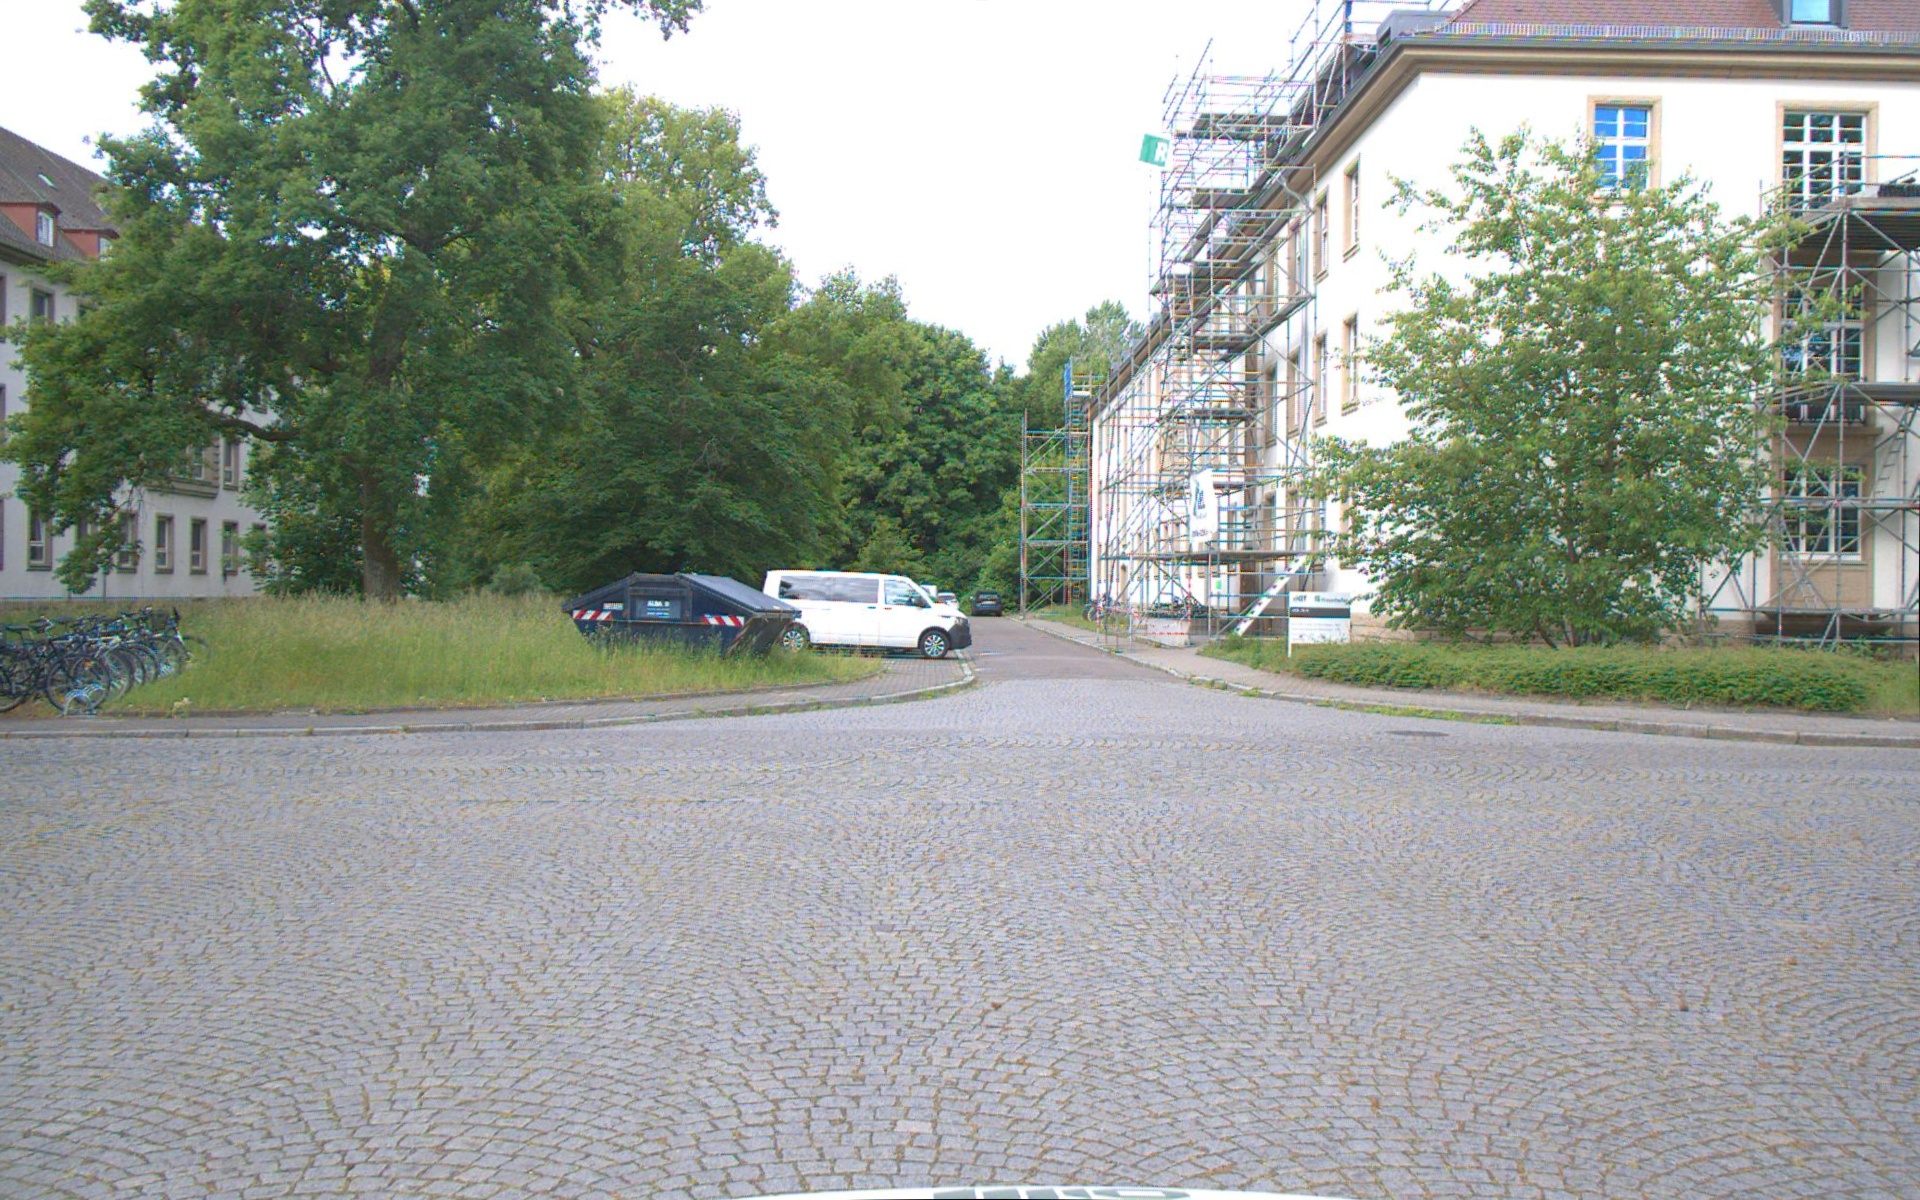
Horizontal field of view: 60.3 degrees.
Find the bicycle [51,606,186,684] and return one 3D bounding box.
[{"bbox_3d":[-12.591,0.667,24.799,1.732,1.131,0.475,0,0,-18],"label":"bicycle"}]

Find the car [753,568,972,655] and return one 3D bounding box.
[{"bbox_3d":[-2.313,0.271,39.894,5.153,2.031,1.968,0,0,-2],"label":"car"}]

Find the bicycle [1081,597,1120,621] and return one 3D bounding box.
[{"bbox_3d":[6.621,0.424,78.070,1.816,1.114,0.511,0,0,6],"label":"bicycle"}]

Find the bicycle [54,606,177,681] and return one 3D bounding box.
[{"bbox_3d":[-13.095,0.669,25.671,1.617,1.131,0.441,0,0,-12],"label":"bicycle"}]

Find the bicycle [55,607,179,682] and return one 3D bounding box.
[{"bbox_3d":[-12.825,0.672,25.188,1.617,1.131,0.441,0,0,-12],"label":"bicycle"}]

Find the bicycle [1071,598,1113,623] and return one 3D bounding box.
[{"bbox_3d":[5.954,0.456,74.810,1.818,1.114,0.511,0,0,21],"label":"bicycle"}]

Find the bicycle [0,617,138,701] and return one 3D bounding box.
[{"bbox_3d":[-11.609,0.756,21.421,1.636,1.025,0.475,-1,0,-18],"label":"bicycle"}]

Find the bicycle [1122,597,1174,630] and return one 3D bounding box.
[{"bbox_3d":[6.559,0.467,57.761,1.816,1.114,0.511,0,0,6],"label":"bicycle"}]

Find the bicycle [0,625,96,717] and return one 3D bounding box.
[{"bbox_3d":[-10.976,0.823,19.246,1.602,1.025,0.472,-1,0,-33],"label":"bicycle"}]

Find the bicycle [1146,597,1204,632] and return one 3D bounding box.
[{"bbox_3d":[6.919,0.455,53.236,1.816,1.114,0.511,0,0,6],"label":"bicycle"}]

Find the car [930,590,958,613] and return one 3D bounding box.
[{"bbox_3d":[-1.005,0.074,102.838,1.547,1.362,3.950,0,0,-4],"label":"car"}]

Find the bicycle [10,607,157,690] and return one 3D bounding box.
[{"bbox_3d":[-12.183,0.667,23.034,1.732,1.131,0.475,0,0,-18],"label":"bicycle"}]

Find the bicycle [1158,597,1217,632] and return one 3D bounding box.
[{"bbox_3d":[7.243,0.459,52.698,1.816,1.114,0.511,0,0,6],"label":"bicycle"}]

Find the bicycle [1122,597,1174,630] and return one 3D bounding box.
[{"bbox_3d":[6.609,0.470,58.211,1.816,1.114,0.511,0,0,6],"label":"bicycle"}]

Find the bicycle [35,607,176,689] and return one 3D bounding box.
[{"bbox_3d":[-12.151,0.670,23.570,1.736,1.131,0.474,0,0,-24],"label":"bicycle"}]

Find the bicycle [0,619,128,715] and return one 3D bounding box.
[{"bbox_3d":[-10.964,0.802,19.955,1.602,1.092,0.472,-1,0,-33],"label":"bicycle"}]

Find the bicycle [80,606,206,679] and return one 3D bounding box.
[{"bbox_3d":[-12.963,0.667,26.275,1.732,1.131,0.475,0,0,-18],"label":"bicycle"}]

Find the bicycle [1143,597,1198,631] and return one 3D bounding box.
[{"bbox_3d":[6.974,0.463,54.832,1.816,1.114,0.511,0,0,6],"label":"bicycle"}]

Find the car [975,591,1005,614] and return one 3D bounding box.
[{"bbox_3d":[1.875,0.138,103.322,1.547,1.395,3.950,0,0,-4],"label":"car"}]

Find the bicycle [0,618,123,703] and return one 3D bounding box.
[{"bbox_3d":[-11.490,0.756,20.812,1.636,1.025,0.475,-1,0,-18],"label":"bicycle"}]

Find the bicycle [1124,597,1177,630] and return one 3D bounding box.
[{"bbox_3d":[6.599,0.467,57.245,1.816,1.114,0.511,0,0,6],"label":"bicycle"}]

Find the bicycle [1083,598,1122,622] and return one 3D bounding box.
[{"bbox_3d":[6.799,0.490,78.866,1.816,1.114,0.511,0,0,6],"label":"bicycle"}]

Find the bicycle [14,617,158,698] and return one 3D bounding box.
[{"bbox_3d":[-11.705,0.758,22.191,1.636,1.025,0.475,-1,0,-18],"label":"bicycle"}]

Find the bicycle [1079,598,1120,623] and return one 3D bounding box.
[{"bbox_3d":[6.451,0.475,76.689,1.818,1.114,0.511,0,0,21],"label":"bicycle"}]
